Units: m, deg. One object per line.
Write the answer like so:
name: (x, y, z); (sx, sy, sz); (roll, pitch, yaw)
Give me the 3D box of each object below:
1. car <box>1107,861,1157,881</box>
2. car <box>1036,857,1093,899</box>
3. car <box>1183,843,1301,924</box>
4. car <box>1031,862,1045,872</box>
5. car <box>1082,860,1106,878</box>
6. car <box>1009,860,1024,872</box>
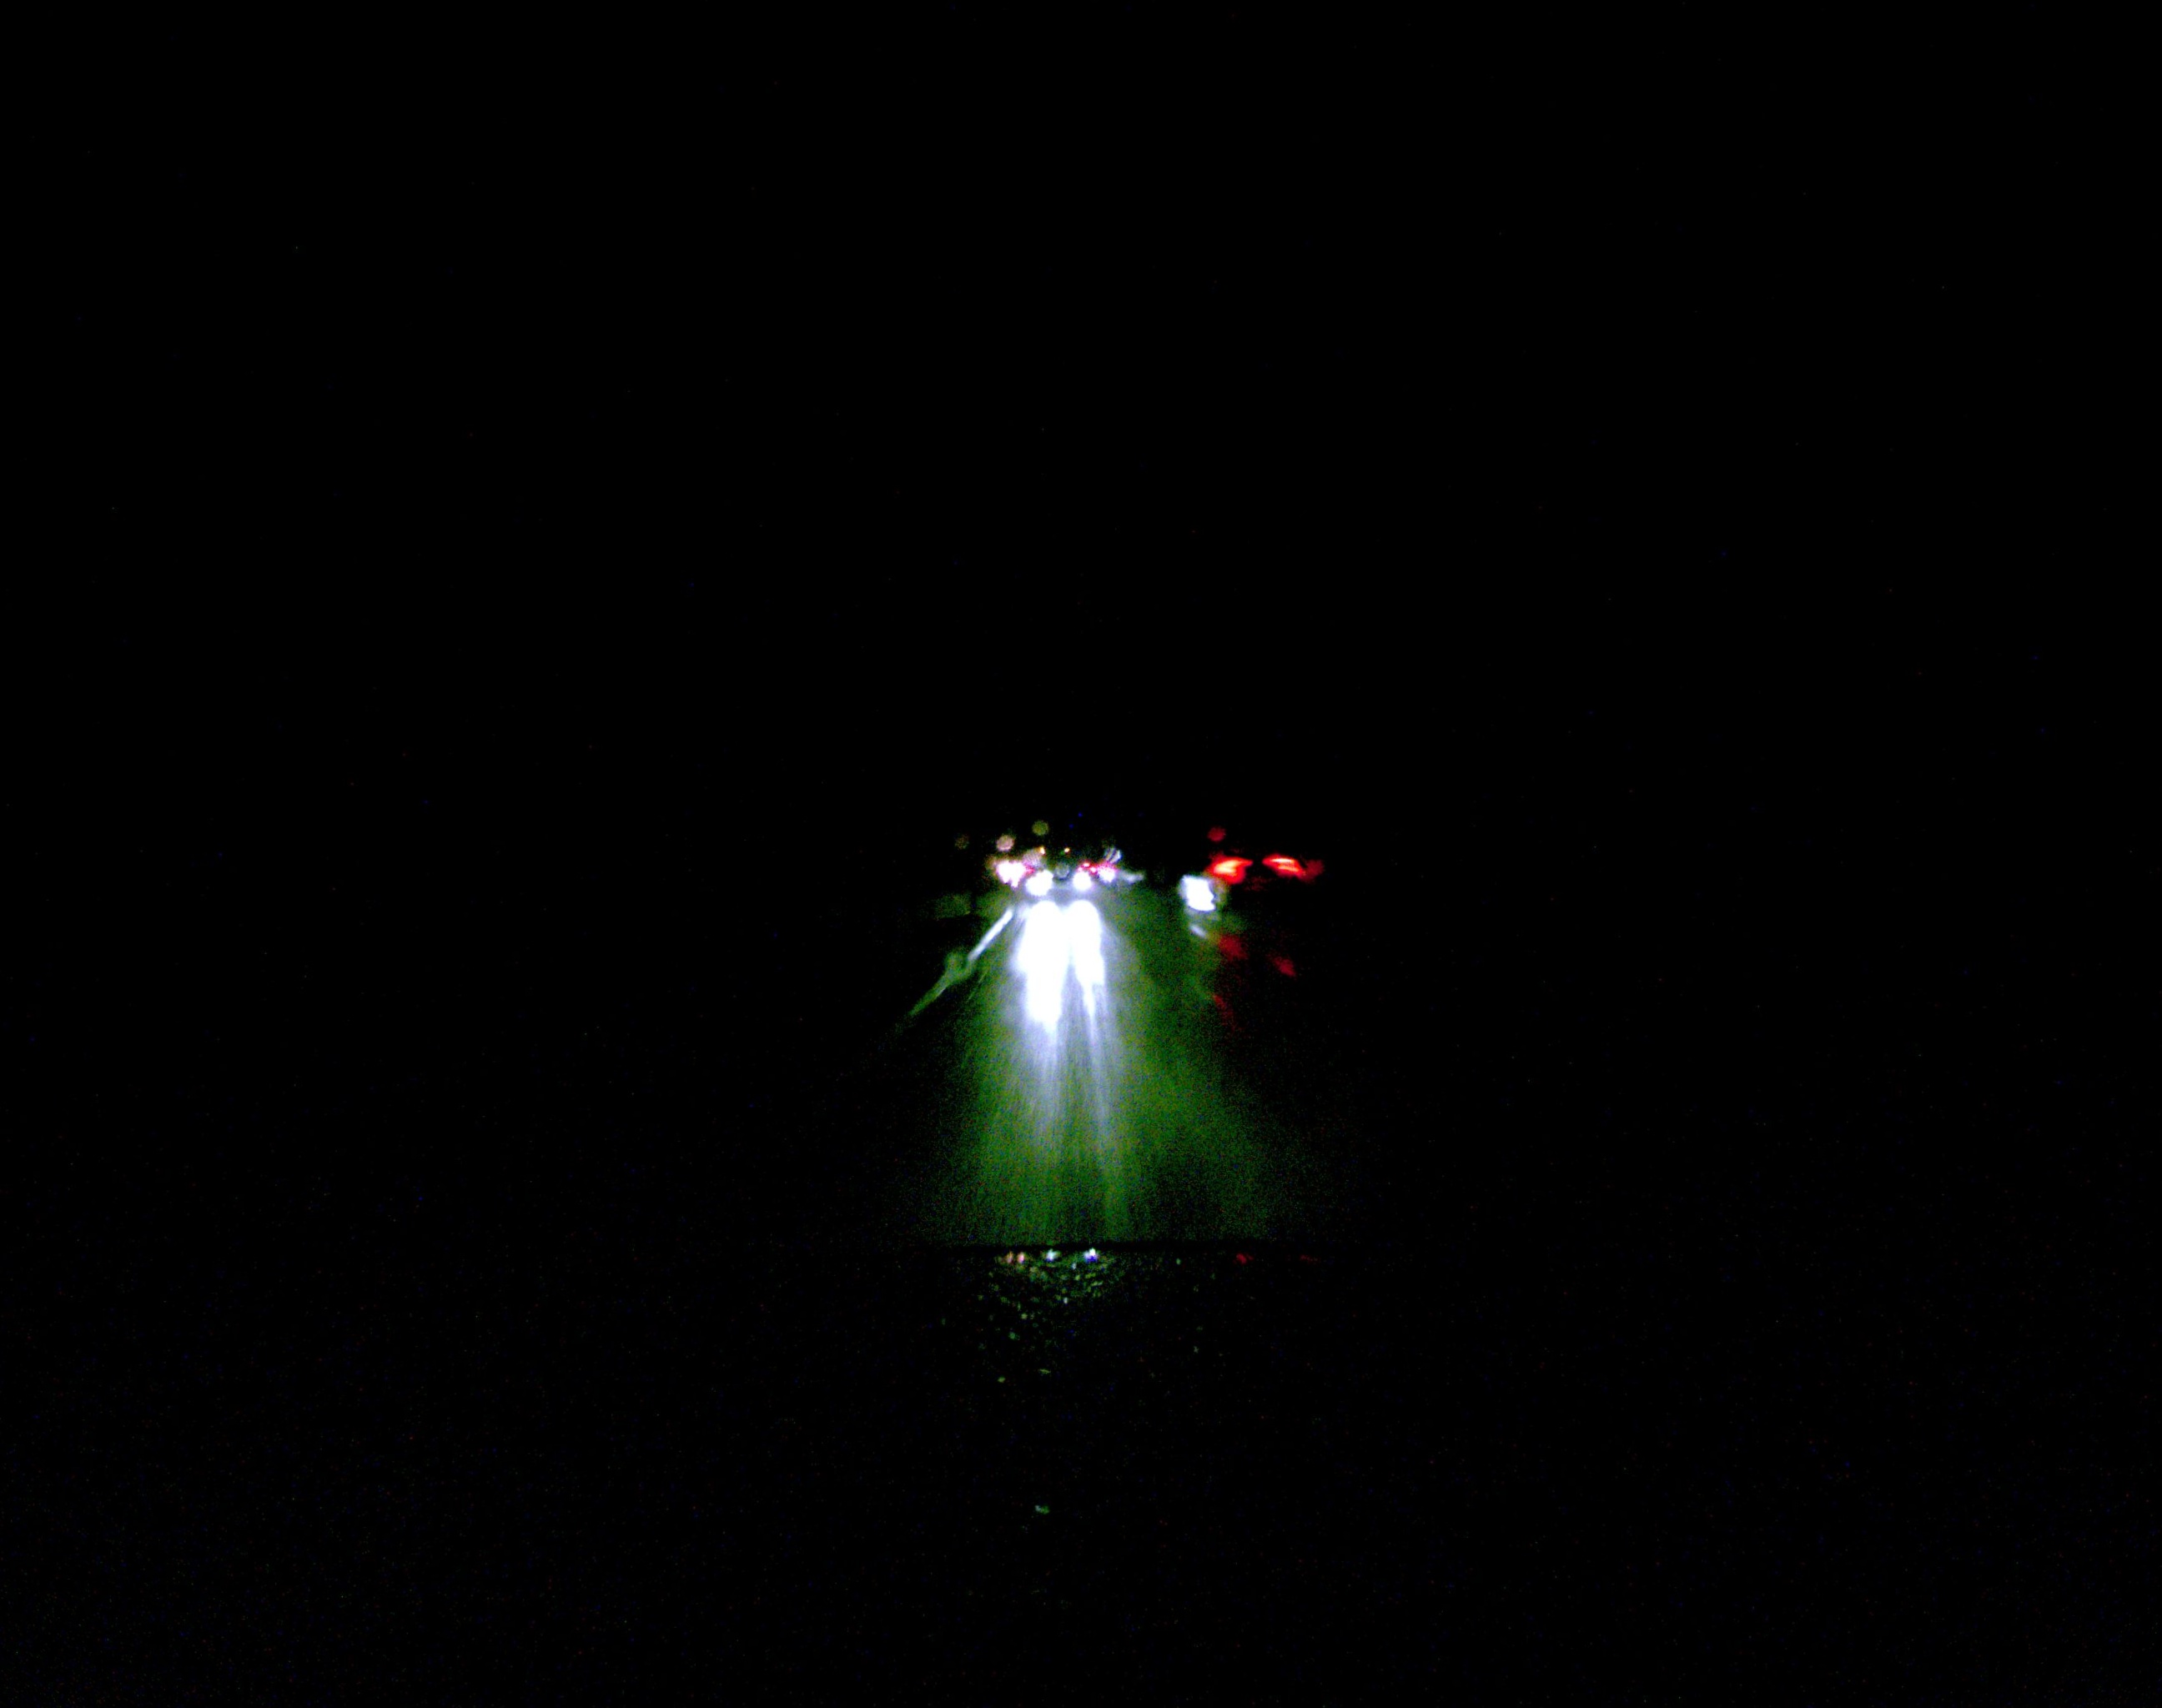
car: (5.313, 1.784, 79.309); (4.949, 1.827, 1.933); (3, -1, -6)
car: (-0.741, 0.930, 30.763); (1.902, 1.551, 3.998); (2, 0, -6)
car: (3.682, 0.644, 18.134); (1.847, 1.710, 3.959); (-1, 0, -2)
car: (-6.244, 1.894, 110.579); (1.761, 1.397, 4.485); (-1, -1, -6)
car: (1.179, 1.351, 68.643); (1.770, 1.533, 4.147); (0, -1, -4)
car: (-8.738, 1.664, 102.730); (1.902, 1.551, 3.998); (2, 0, -6)
